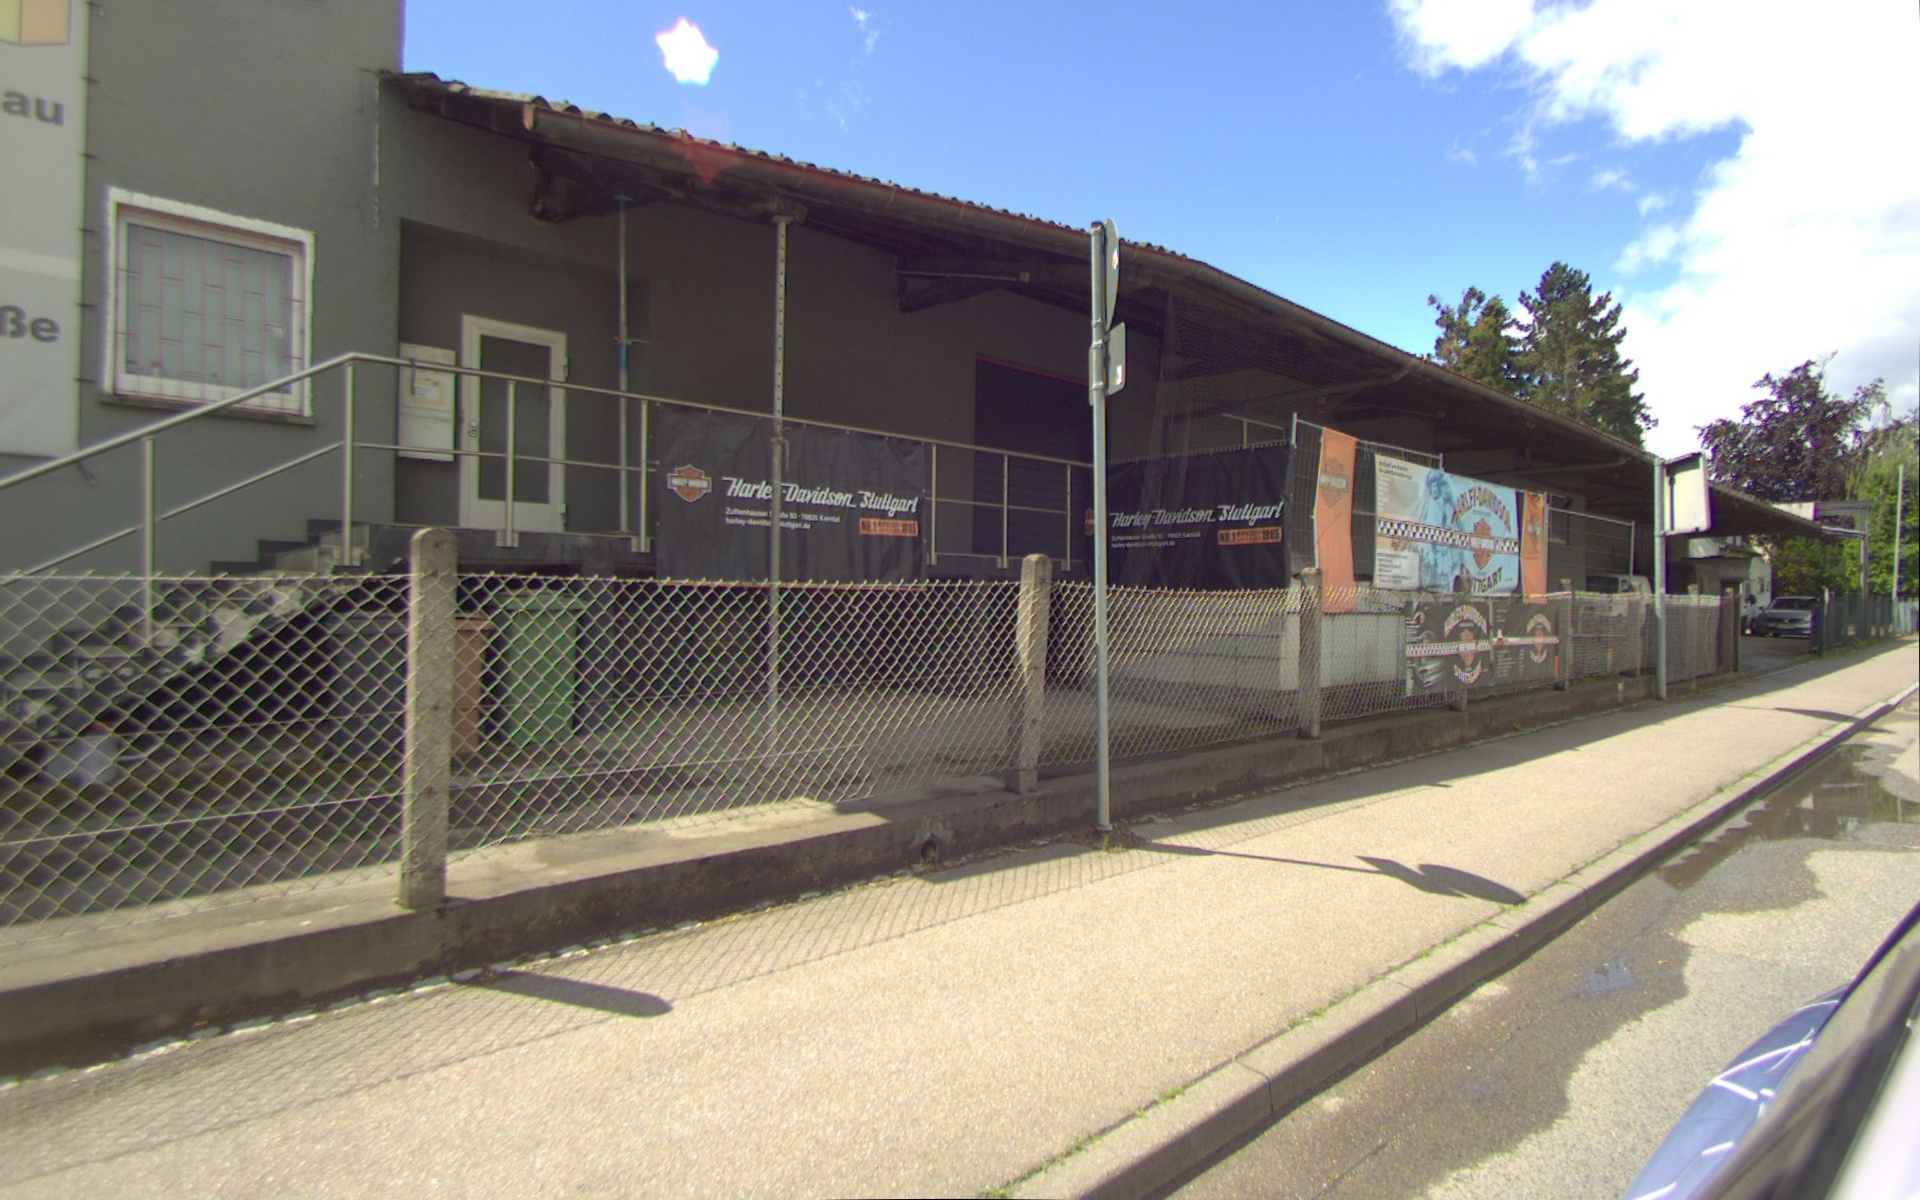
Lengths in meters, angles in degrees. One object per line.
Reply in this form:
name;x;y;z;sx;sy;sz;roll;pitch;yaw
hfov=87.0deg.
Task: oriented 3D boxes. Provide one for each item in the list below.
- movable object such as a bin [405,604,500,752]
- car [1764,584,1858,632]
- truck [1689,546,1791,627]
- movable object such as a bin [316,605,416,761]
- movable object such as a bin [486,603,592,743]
movable object such as a bin;-3.440;0.504;6.860;0.466;0.942;0.482;0;0;-42
car;29.860;0.233;35.440;5.114;1.549;1.860;-1;1;-42
truck;29.513;-0.506;38.229;5.112;2.864;2.089;-1;0;-41
movable object such as a bin;-3.823;0.509;6.510;0.466;0.942;0.482;0;0;-42
movable object such as a bin;-3.016;0.498;7.252;0.574;0.942;0.482;0;0;-42
